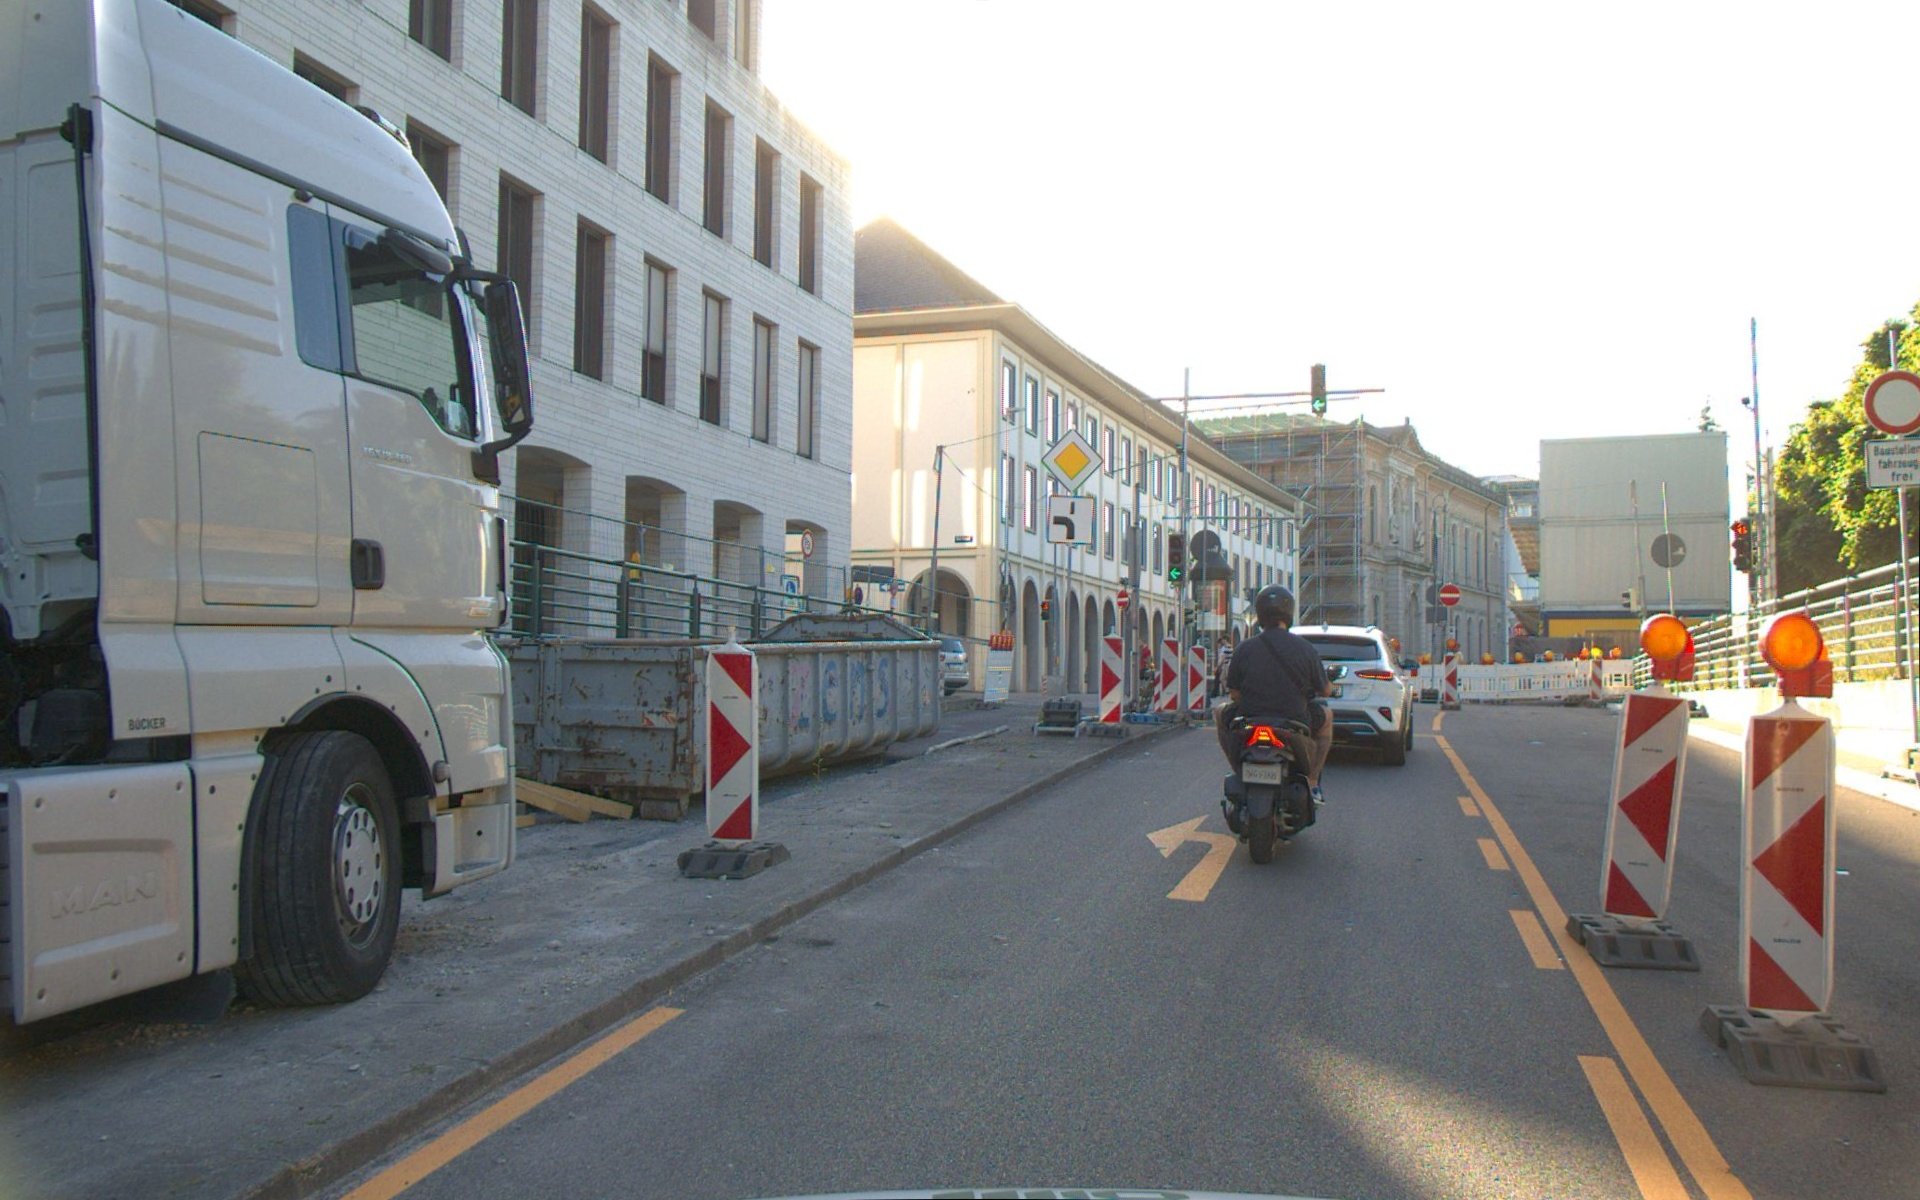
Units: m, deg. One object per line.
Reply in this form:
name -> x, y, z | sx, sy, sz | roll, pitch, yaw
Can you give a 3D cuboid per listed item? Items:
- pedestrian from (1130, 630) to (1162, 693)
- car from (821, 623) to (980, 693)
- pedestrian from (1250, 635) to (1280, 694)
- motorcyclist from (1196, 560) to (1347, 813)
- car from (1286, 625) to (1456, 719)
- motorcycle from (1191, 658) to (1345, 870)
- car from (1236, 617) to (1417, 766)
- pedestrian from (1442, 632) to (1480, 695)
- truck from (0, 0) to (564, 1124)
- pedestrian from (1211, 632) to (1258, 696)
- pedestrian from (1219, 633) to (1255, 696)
pedestrian -> 5.485, 1.816, 48.752 | 0.757, 1.833, 0.711 | -1, -1, 18
car -> -1.621, 1.526, 44.536 | 4.079, 1.751, 1.802 | 0, 0, 36
pedestrian -> 9.260, 1.960, 50.207 | 0.722, 1.746, 0.621 | -3, -3, 22
motorcyclist -> 2.115, 0.556, 11.116 | 0.933, 1.587, 1.240 | 0, -1, 14
car -> 7.344, 1.298, 29.983 | 1.739, 1.578, 4.101 | 0, -2, -5
motorcycle -> 2.128, 1.014, 11.130 | 0.886, 1.204, 2.580 | 0, -1, 13
car -> 4.338, 0.975, 19.165 | 1.820, 1.498, 4.002 | 1, -1, 15
pedestrian -> 14.262, 1.818, 47.049 | 0.954, 1.759, 0.798 | -2, -4, 18
truck -> -3.794, -0.309, 4.870 | 2.525, 3.550, 5.820 | -4, -1, 14
pedestrian -> 7.950, 1.842, 47.846 | 1.217, 1.833, 0.717 | -1, -1, 19
pedestrian -> 8.146, 1.892, 48.552 | 0.918, 1.809, 0.711 | -1, -1, 18
